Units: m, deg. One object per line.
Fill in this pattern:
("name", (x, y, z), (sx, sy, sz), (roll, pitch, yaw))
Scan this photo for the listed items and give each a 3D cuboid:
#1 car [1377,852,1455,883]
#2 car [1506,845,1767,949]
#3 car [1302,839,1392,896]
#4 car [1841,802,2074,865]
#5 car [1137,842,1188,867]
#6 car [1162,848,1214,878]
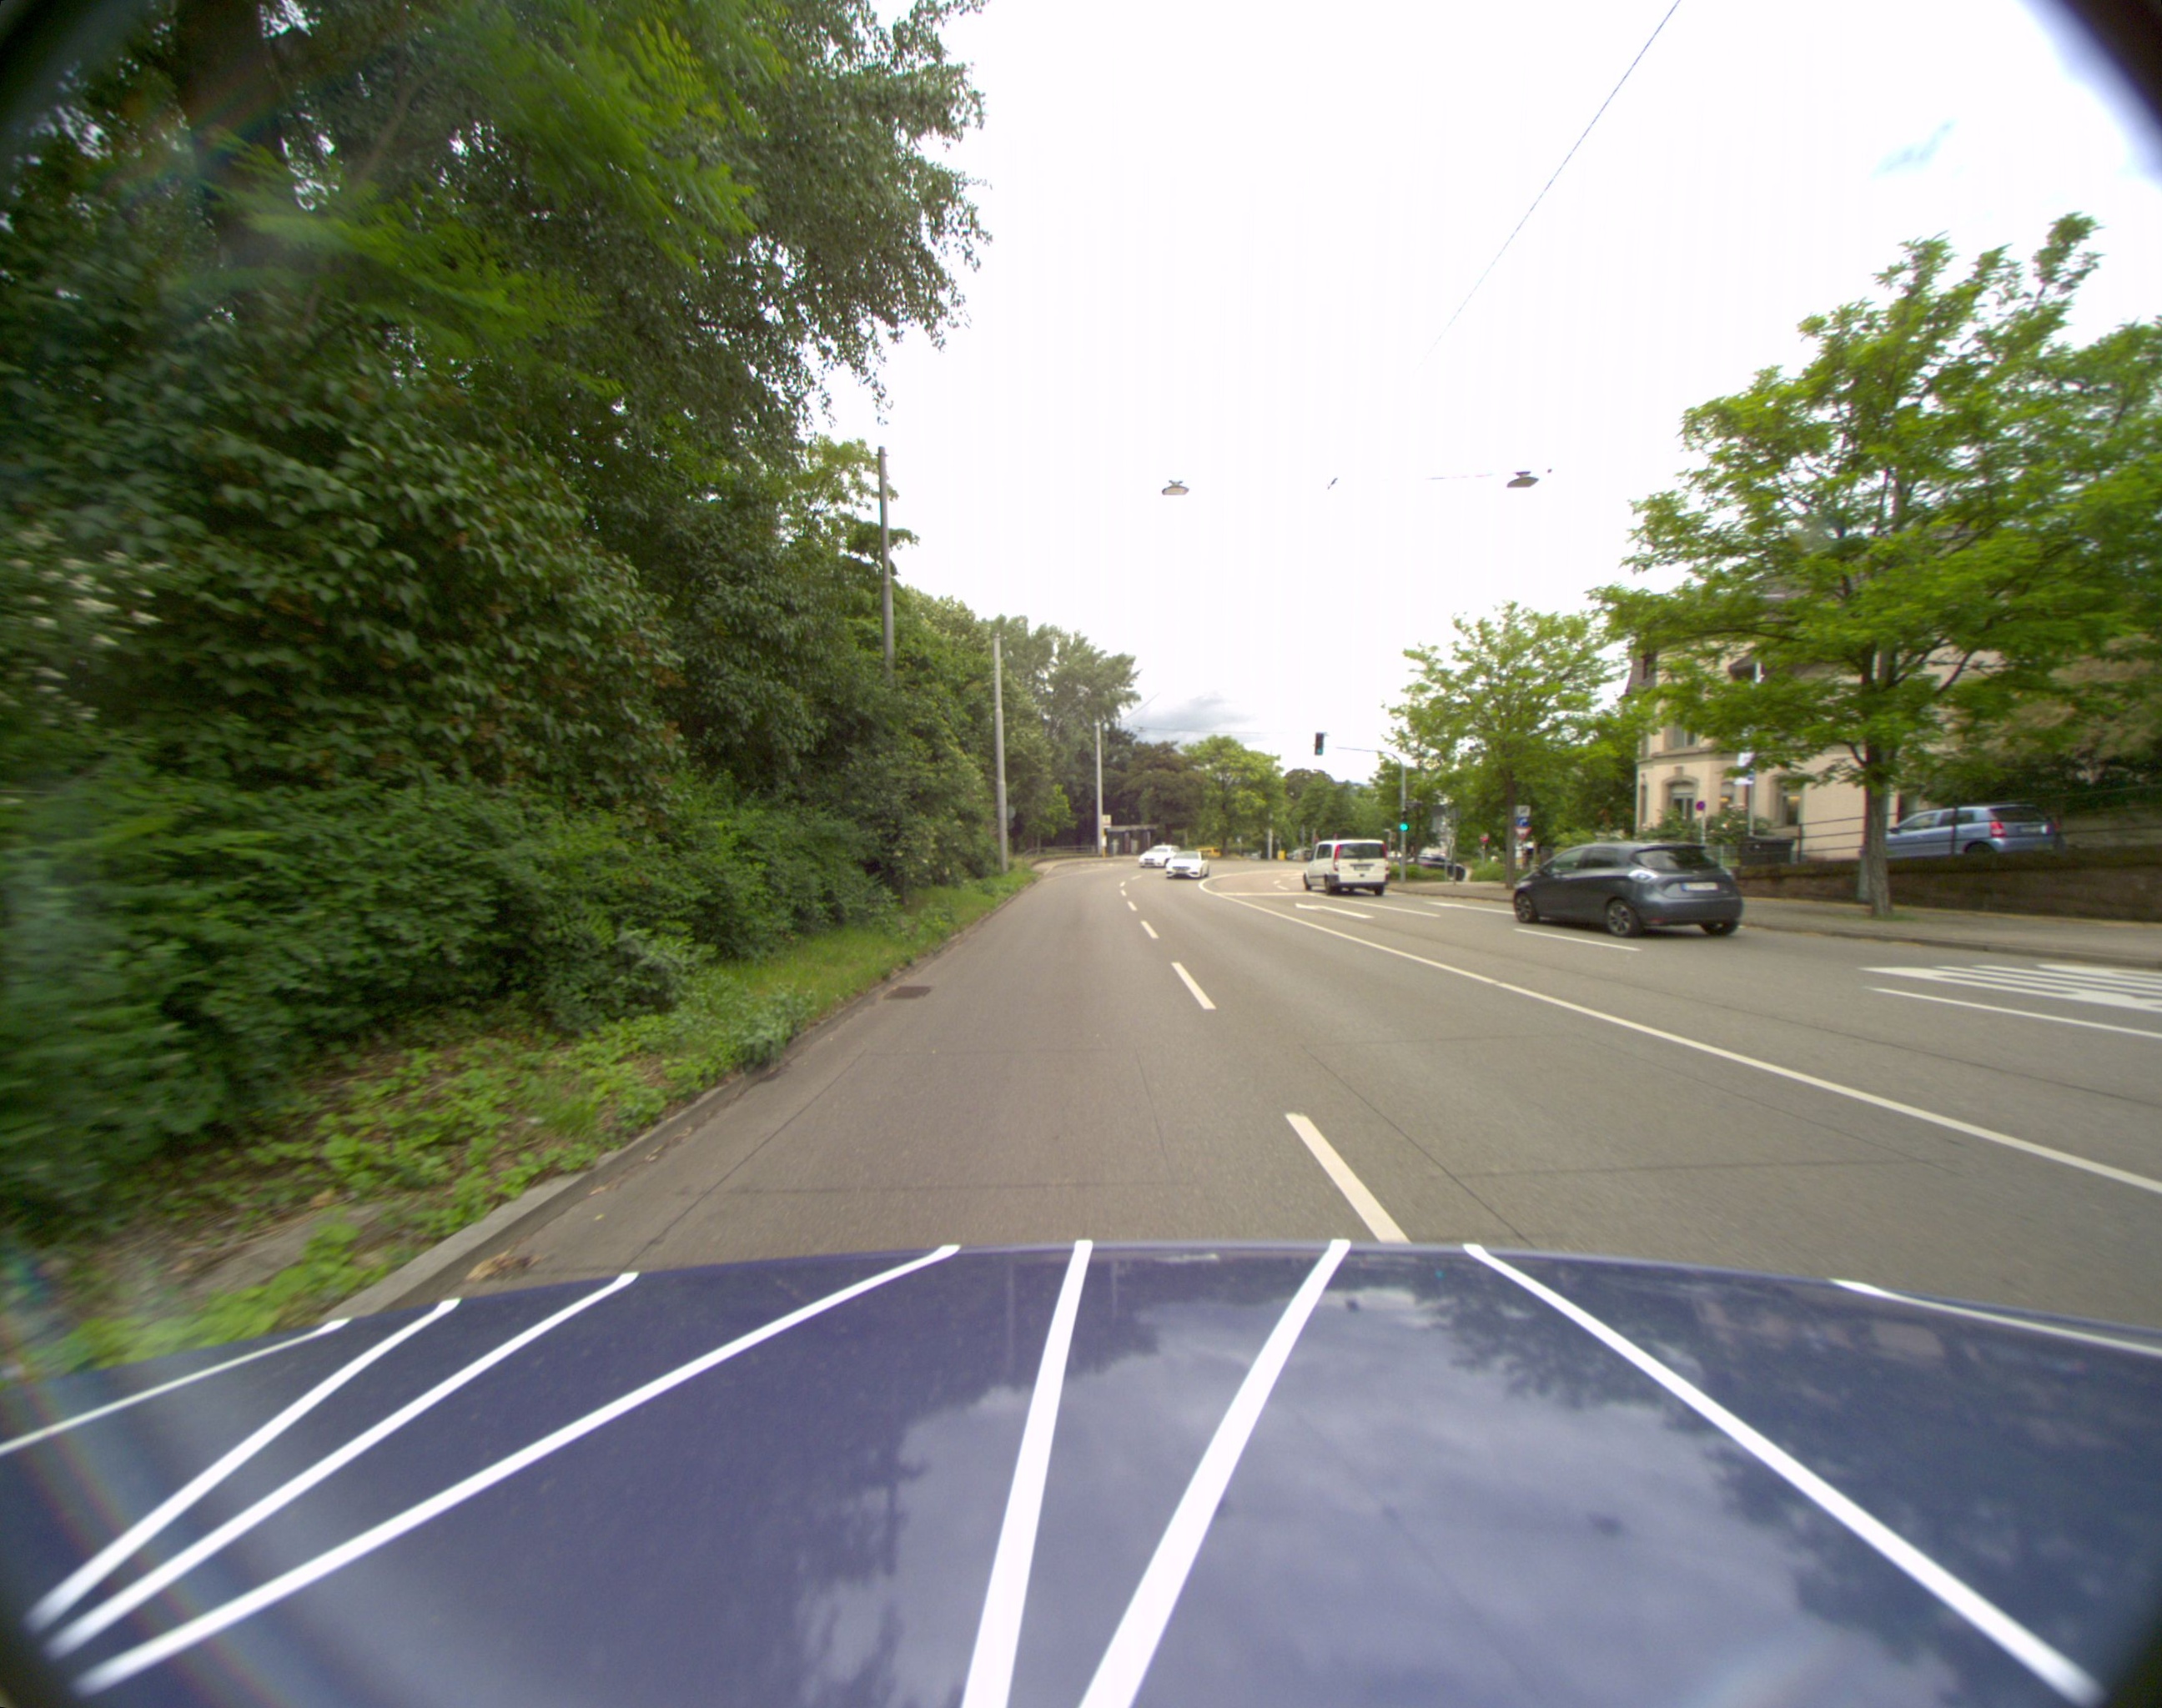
("car", (16.253, 0.631, 36.969), (3.132, 1.464, 1.548), (0, 1, 1))
("car", (9.271, 0.637, 13.129), (1.698, 1.483, 3.801), (-2, 0, 0))
("car", (9.345, 0.444, 27.140), (1.797, 1.853, 4.852), (0, 0, 4))
("car", (22.029, -0.499, 19.331), (1.709, 1.413, 3.634), (1, 1, 1))
("car", (5.633, -0.032, 52.152), (1.912, 1.543, 4.534), (3, 3, 28))
("car", (5.752, 0.424, 40.369), (1.914, 1.470, 4.532), (1, 1, 19))
